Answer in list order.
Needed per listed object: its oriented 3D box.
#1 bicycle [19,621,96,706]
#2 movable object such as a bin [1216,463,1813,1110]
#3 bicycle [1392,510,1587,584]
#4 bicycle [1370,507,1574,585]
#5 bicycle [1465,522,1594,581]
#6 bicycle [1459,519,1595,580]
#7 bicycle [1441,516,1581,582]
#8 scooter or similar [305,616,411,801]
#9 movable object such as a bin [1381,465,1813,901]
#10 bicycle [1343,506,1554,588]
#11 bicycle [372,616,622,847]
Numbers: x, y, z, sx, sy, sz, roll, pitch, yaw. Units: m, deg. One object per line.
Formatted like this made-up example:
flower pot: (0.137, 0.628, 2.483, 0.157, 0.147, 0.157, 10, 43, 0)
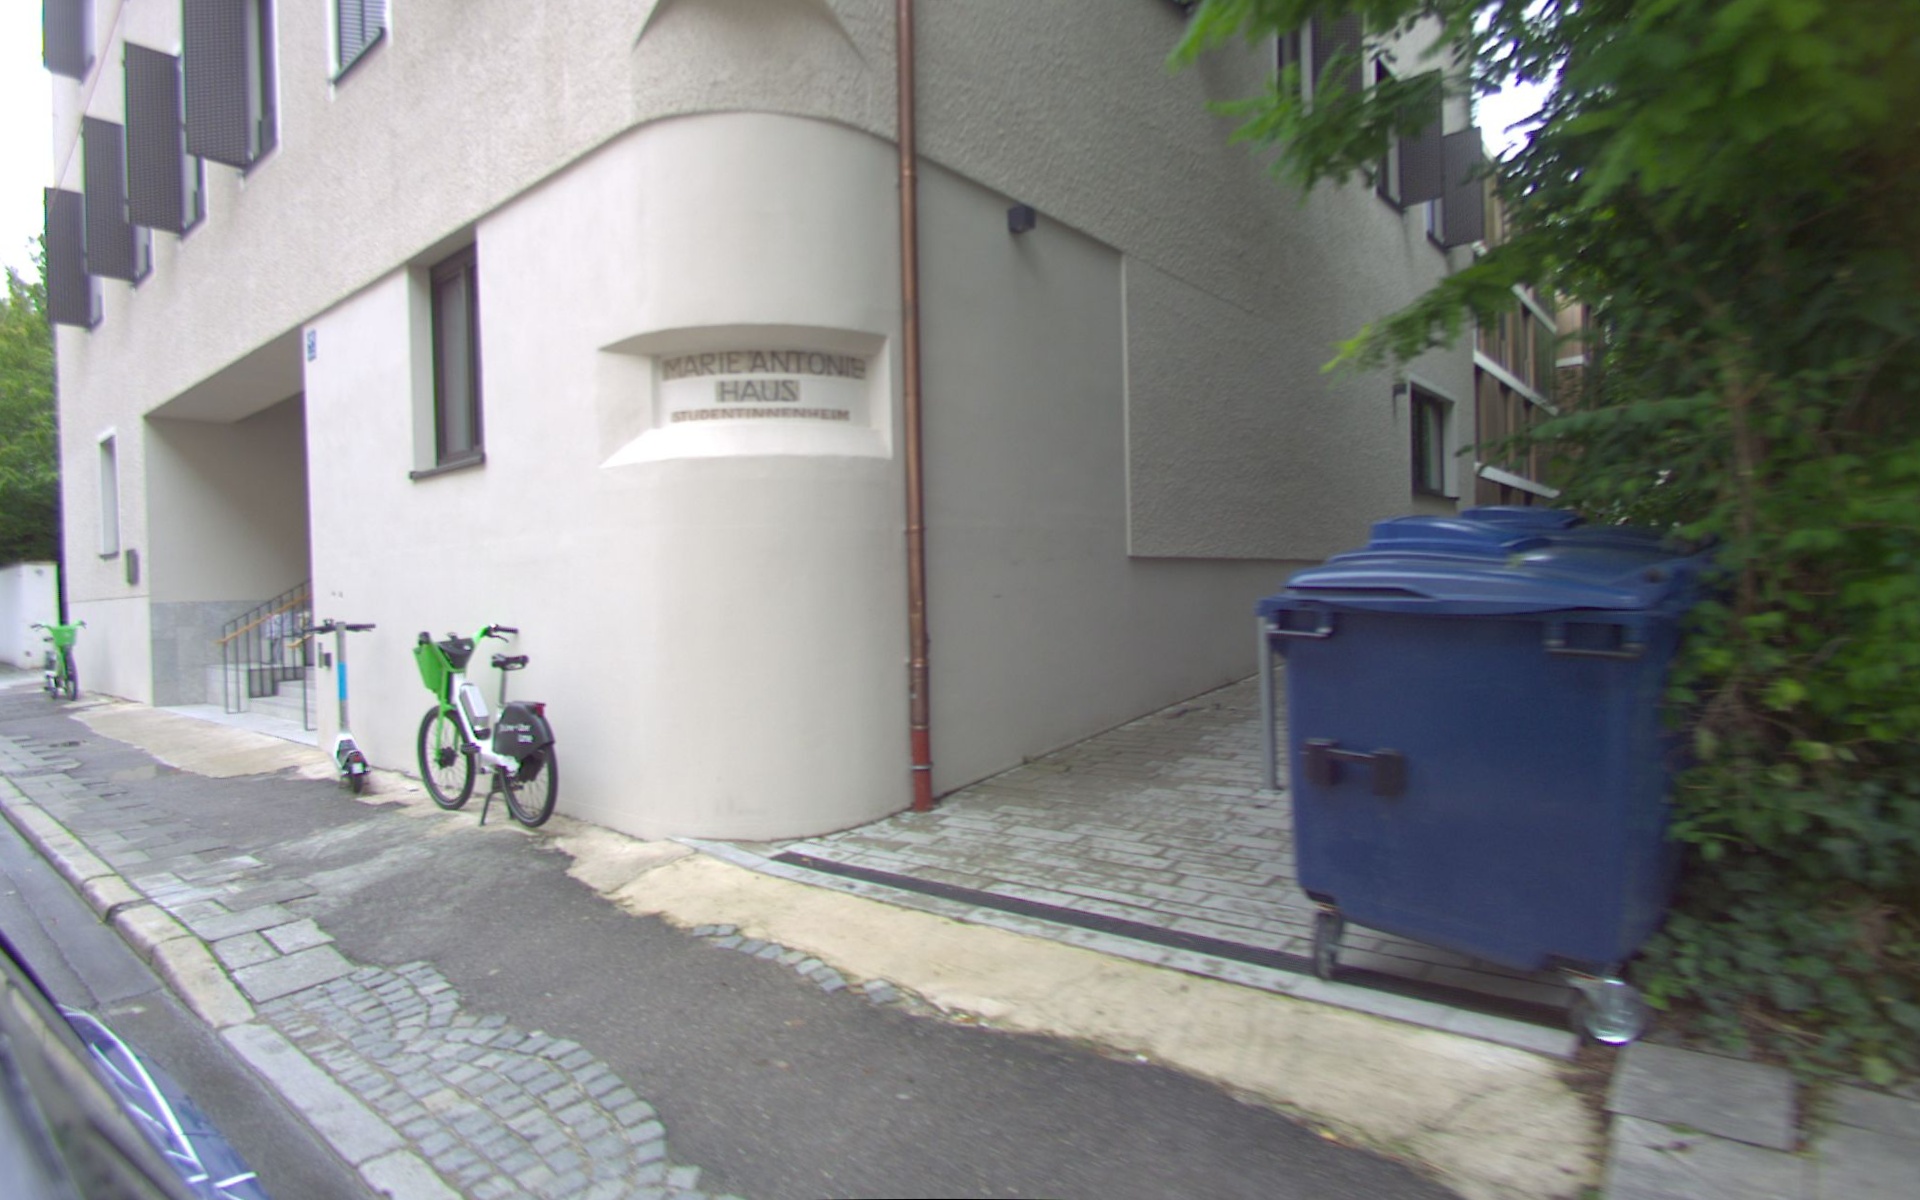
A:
bicycle: (-13.254, 0.898, 14.847, 1.915, 1.147, 0.532, -1, 2, 40)
movable object such as a bin: (1.710, 0.394, 3.132, 1.161, 1.452, 1.250, -9, 4, -43)
bicycle: (10.407, -0.993, 20.015, 3.243, 1.307, 1.142, 0, 0, 41)
bicycle: (9.586, -0.954, 19.072, 3.243, 1.307, 1.142, 0, 0, 41)
bicycle: (14.148, -1.173, 25.215, 2.722, 1.330, 0.724, 0, 0, 41)
bicycle: (13.348, -1.159, 23.900, 2.722, 1.330, 0.725, 0, 0, 41)
bicycle: (12.472, -1.110, 22.992, 2.690, 1.375, 0.767, 0, 0, 41)
scooter or similar: (-4.411, 0.731, 7.388, 0.544, 1.152, 1.362, -4, 3, -32)
movable object such as a bin: (2.619, 0.244, 4.148, 1.248, 1.415, 1.162, -3, 4, 43)
bicycle: (8.714, -0.888, 18.193, 3.243, 1.307, 1.142, 0, 0, 41)
bicycle: (-2.823, 0.703, 6.071, 1.880, 1.170, 0.539, -1, 2, 39)
